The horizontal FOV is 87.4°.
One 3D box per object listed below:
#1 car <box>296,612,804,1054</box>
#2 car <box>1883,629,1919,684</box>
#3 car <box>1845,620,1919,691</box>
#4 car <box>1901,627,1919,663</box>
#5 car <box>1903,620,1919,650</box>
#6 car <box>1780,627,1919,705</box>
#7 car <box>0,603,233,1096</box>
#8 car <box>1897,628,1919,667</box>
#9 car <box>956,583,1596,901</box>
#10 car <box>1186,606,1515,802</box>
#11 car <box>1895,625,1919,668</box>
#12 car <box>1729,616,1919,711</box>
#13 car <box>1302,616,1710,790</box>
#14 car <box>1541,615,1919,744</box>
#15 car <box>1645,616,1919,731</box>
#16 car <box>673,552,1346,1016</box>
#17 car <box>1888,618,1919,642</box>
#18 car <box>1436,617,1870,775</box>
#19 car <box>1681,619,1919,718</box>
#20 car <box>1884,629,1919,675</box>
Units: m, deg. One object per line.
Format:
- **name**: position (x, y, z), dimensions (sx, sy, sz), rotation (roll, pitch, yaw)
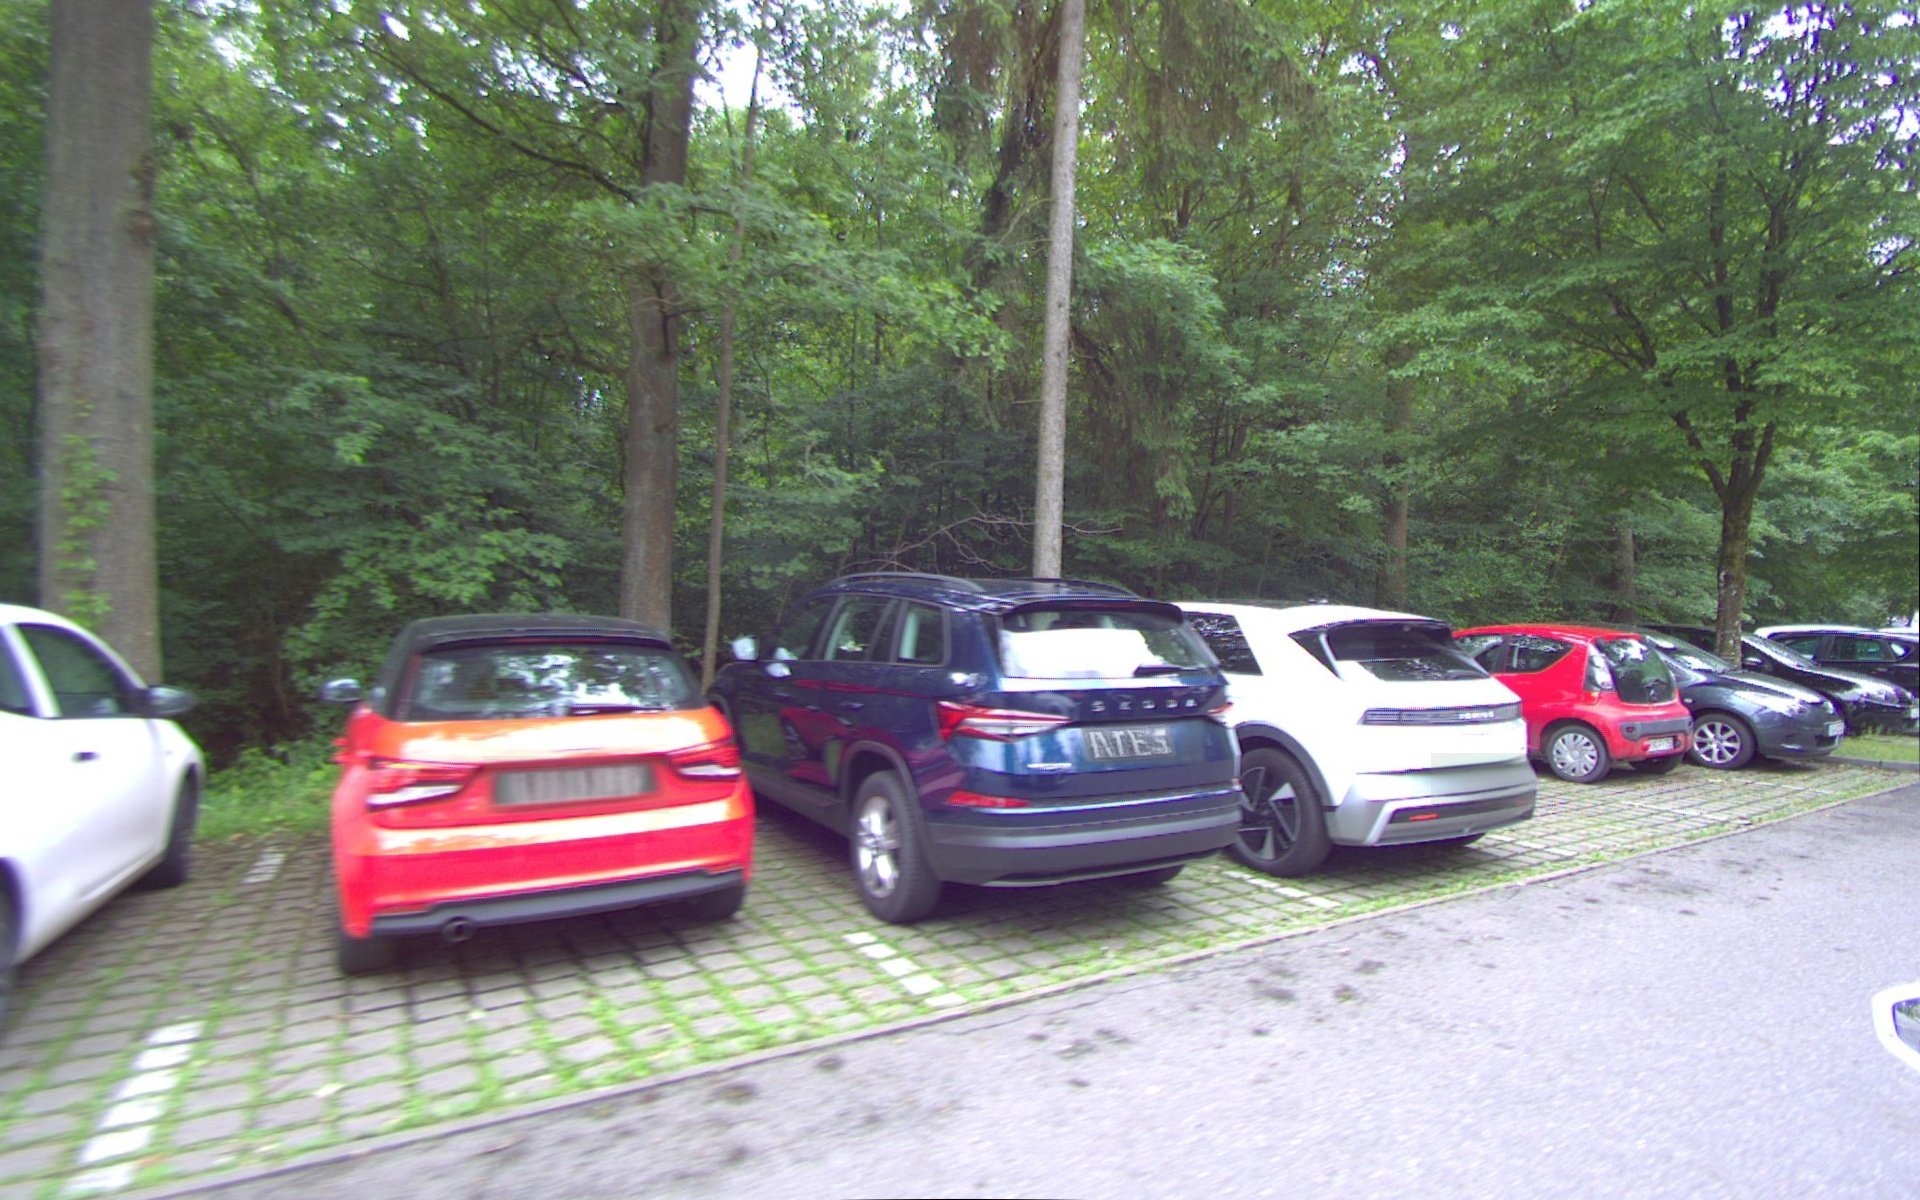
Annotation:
- **car**: position (-2.462, 0.821, 5.551), dimensions (1.802, 1.464, 3.967), rotation (1, -1, -31)
- **car**: position (27.237, 1.554, 26.757), dimensions (1.857, 1.438, 3.695), rotation (1, -1, -40)
- **car**: position (23.689, 1.338, 23.628), dimensions (1.976, 1.649, 3.939), rotation (1, -1, -32)
- **car**: position (41.344, 1.887, 40.758), dimensions (4.510, 1.466, 2.075), rotation (1, -1, 41)
- **car**: position (56.297, 2.067, 56.842), dimensions (4.179, 1.655, 2.017), rotation (2, 0, 44)
- **car**: position (19.732, 1.342, 20.294), dimensions (2.077, 1.497, 4.603), rotation (1, -1, -38)
- **car**: position (-4.178, 0.774, 3.862), dimensions (1.633, 1.486, 3.216), rotation (0, -1, -25)
- **car**: position (39.345, 1.929, 38.953), dimensions (4.317, 1.506, 1.882), rotation (1, -1, 42)
- **car**: position (1.937, 0.746, 7.506), dimensions (2.007, 1.619, 4.333), rotation (2, -1, -31)
- **car**: position (3.706, 0.880, 9.819), dimensions (1.431, 1.562, 2.642), rotation (1, 1, -35)
- **car**: position (35.845, 1.718, 35.280), dimensions (2.042, 1.506, 4.227), rotation (2, 0, -42)
- **car**: position (17.616, 1.189, 19.310), dimensions (1.954, 1.669, 4.197), rotation (1, -1, -40)
- **car**: position (5.746, 0.961, 10.982), dimensions (1.655, 1.494, 3.588), rotation (1, 0, -31)
- **car**: position (11.070, 1.039, 14.607), dimensions (1.703, 1.493, 4.205), rotation (2, -1, -35)
- **car**: position (13.690, 1.097, 15.971), dimensions (1.986, 1.550, 4.206), rotation (2, 0, -35)
- **car**: position (-0.169, 0.664, 6.178), dimensions (2.145, 1.717, 4.405), rotation (1, 1, -29)
- **car**: position (77.793, 2.455, 81.146), dimensions (3.938, 1.841, 2.106), rotation (1, 0, 39)
- **car**: position (8.062, 0.991, 12.036), dimensions (1.691, 1.511, 3.960), rotation (1, -1, -35)
- **car**: position (15.602, 1.159, 17.867), dimensions (1.747, 1.554, 4.200), rotation (1, -1, -39)
- **car**: position (32.298, 1.701, 31.773), dimensions (2.020, 1.443, 4.365), rotation (2, 0, -42)
